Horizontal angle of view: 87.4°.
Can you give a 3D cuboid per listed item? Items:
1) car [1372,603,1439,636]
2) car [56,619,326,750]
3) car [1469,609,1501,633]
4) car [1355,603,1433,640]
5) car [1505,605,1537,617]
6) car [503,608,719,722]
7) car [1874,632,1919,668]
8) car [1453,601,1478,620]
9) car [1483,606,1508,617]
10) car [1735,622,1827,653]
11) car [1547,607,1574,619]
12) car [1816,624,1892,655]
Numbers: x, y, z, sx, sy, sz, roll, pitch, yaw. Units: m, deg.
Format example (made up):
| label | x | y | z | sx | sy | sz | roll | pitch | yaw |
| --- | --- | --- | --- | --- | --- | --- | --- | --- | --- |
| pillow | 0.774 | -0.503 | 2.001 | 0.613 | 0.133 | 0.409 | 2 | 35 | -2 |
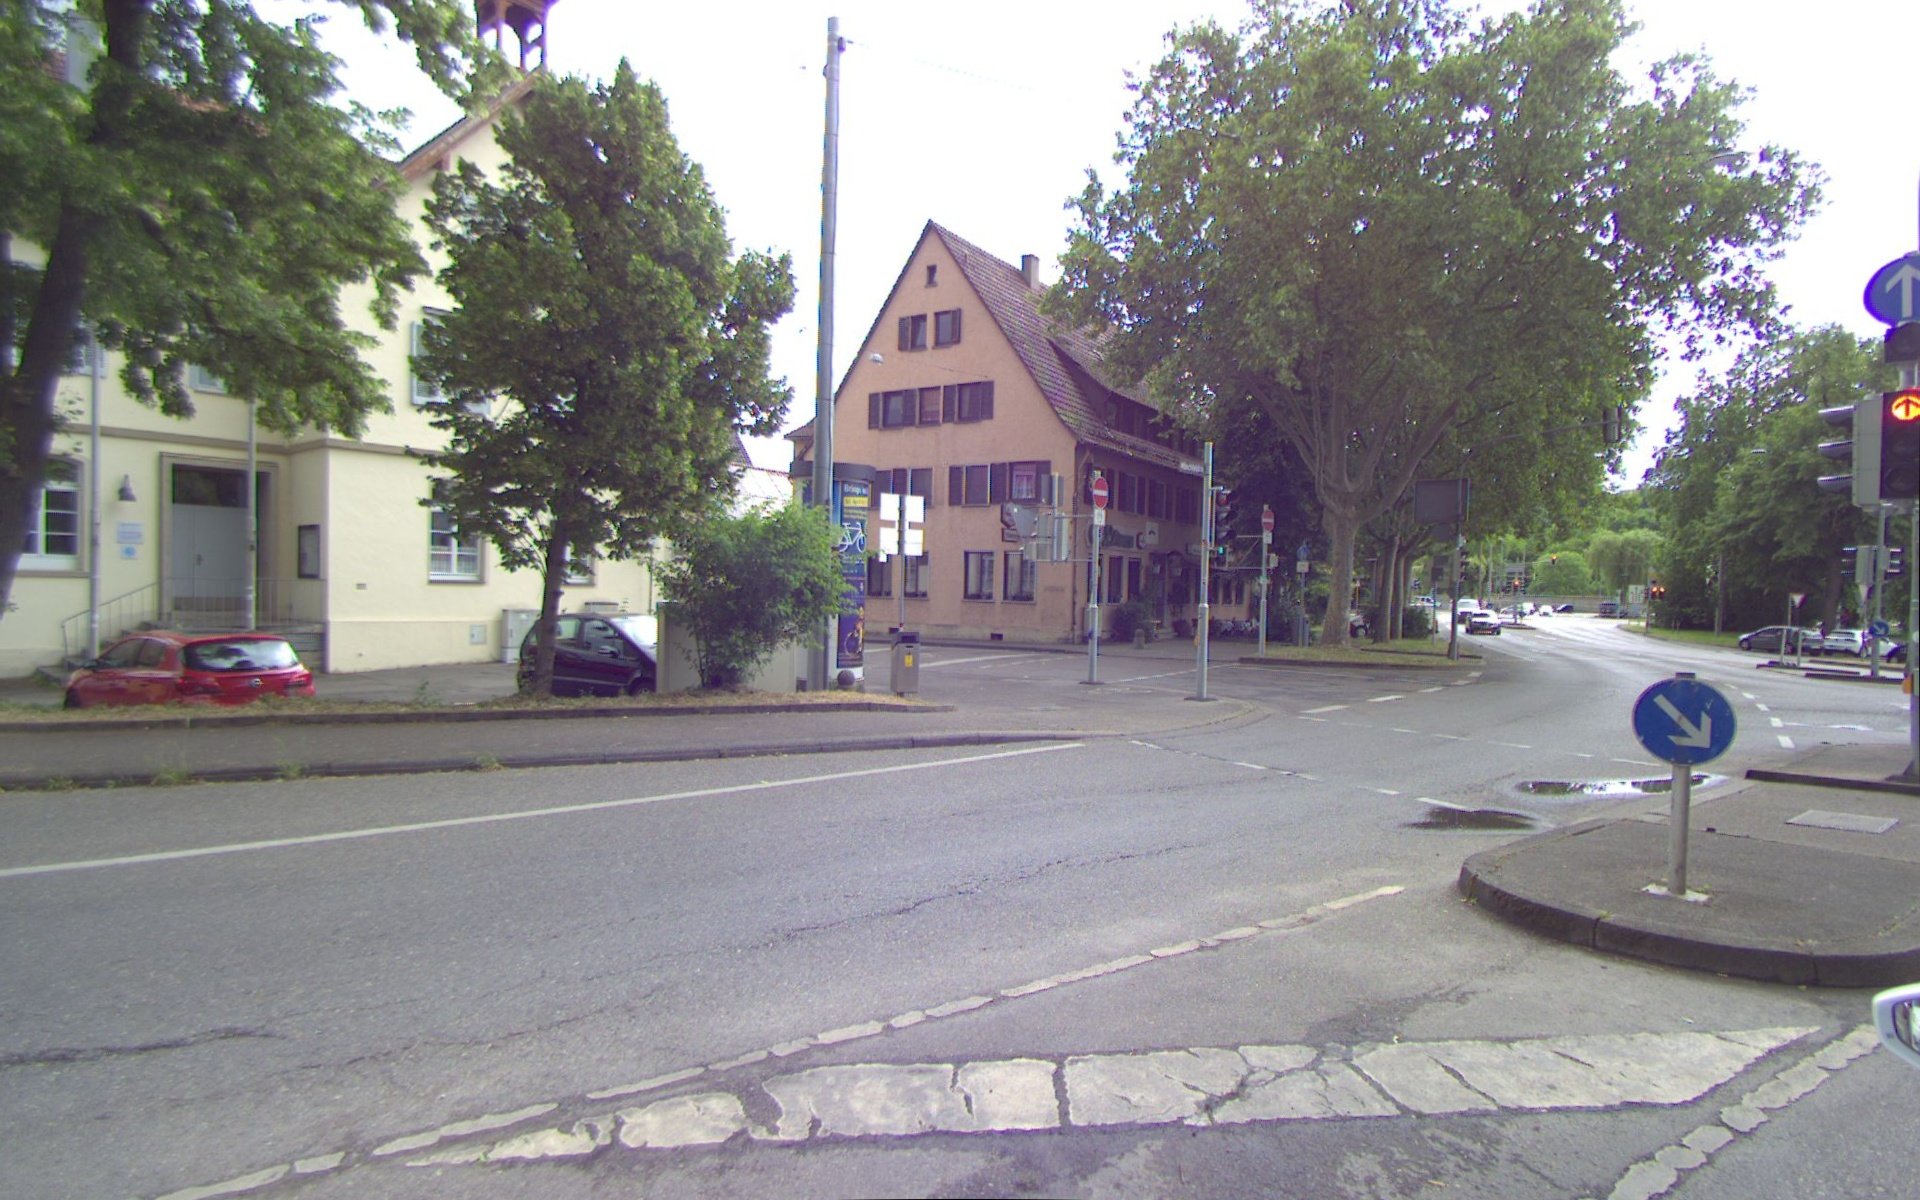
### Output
| label | x | y | z | sx | sy | sz | roll | pitch | yaw |
| --- | --- | --- | --- | --- | --- | --- | --- | --- | --- |
| car | 25.479 | 1.086 | 57.469 | 3.387 | 1.765 | 1.570 | 2 | 0 | 28 |
| car | -10.165 | 1.011 | 13.248 | 3.492 | 1.397 | 1.605 | 2 | 0 | 30 |
| car | 33.422 | 1.324 | 63.976 | 1.404 | 1.435 | 2.872 | 1 | -1 | 19 |
| car | 21.418 | 1.047 | 49.585 | 3.387 | 1.663 | 1.570 | 2 | 0 | 28 |
| car | 82.885 | 1.645 | 148.466 | 3.935 | 1.572 | 1.862 | 2 | 0 | 37 |
| car | -5.754 | 1.005 | 16.596 | 3.035 | 1.654 | 1.607 | 2 | 0 | 22 |
| car | 39.579 | 2.078 | 40.947 | 1.442 | 1.412 | 3.596 | 2 | 0 | 3 |
| car | 39.792 | 0.816 | 79.128 | 1.404 | 1.435 | 2.872 | 1 | -1 | 19 |
| car | 100.726 | 2.130 | 188.938 | 3.928 | 2.040 | 1.996 | 2 | 0 | 30 |
| car | 43.873 | 1.968 | 53.763 | 1.559 | 1.484 | 3.543 | 2 | 0 | -17 |
| car | 108.240 | 2.319 | 181.092 | 3.928 | 2.040 | 1.996 | 2 | 0 | 30 |
| car | 47.312 | 2.082 | 53.163 | 3.342 | 1.484 | 1.543 | 2 | 0 | -19 |
